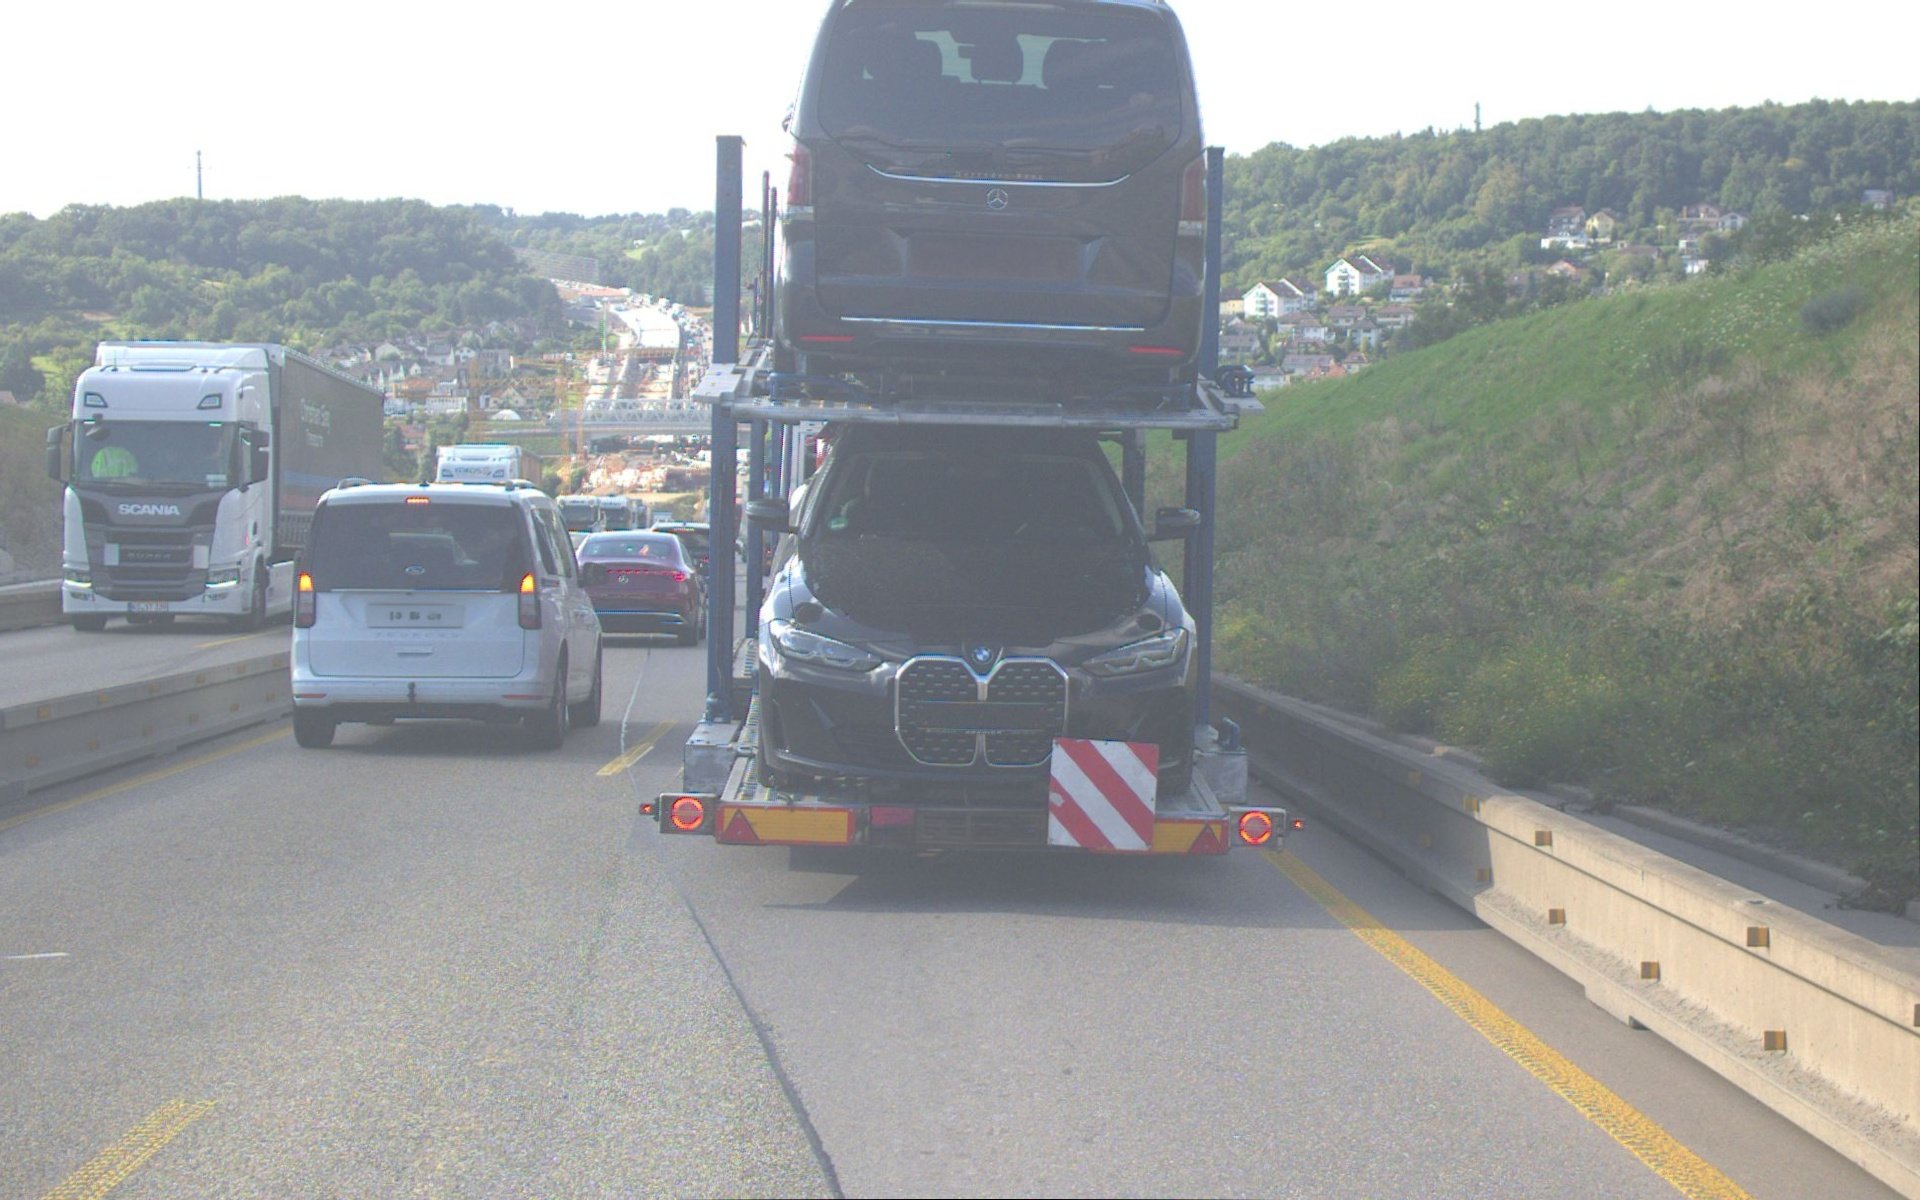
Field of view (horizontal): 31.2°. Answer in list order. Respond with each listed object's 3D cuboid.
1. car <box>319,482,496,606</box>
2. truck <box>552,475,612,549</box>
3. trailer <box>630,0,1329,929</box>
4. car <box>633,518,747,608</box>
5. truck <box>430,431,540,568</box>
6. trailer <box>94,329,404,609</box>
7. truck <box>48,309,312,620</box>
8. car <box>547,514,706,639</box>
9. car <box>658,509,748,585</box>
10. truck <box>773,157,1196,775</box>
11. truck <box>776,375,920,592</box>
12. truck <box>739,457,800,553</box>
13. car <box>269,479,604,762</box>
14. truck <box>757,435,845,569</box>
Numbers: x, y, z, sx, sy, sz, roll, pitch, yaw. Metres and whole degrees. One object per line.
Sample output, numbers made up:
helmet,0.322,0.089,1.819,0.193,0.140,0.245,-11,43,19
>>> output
car,-7.583,-0.738,47.517,1.821,1.598,4.000,1,0,-1
truck,-21.606,-5.019,196.804,2.638,4.085,10.820,0,1,-2
trailer,-0.083,-0.864,19.073,2.708,4.015,11.421,0,1,-2
car,-5.120,-0.745,65.702,1.993,1.619,4.751,1,1,-3
truck,-14.935,-3.145,108.708,2.638,4.085,10.820,0,1,-4
trailer,-11.141,-2.006,55.388,2.614,3.940,13.876,0,1,-2
truck,-10.922,-1.868,48.660,2.614,4.139,5.782,0,1,-2
car,-4.342,-0.350,45.361,1.823,1.487,4.685,1,2,-3
car,-5.545,-1.167,74.604,1.796,1.591,4.743,0,1,-2
truck,0.033,-0.914,24.796,2.677,3.908,6.028,0,1,-2
truck,-2.661,-2.585,78.150,2.863,4.555,11.660,0,1,-4
truck,-9.456,-4.668,169.576,2.863,4.555,11.660,0,1,-4
car,-3.672,0.067,24.828,1.823,1.817,4.457,1,2,-2
truck,-5.736,-3.455,122.273,2.863,4.555,11.660,0,1,-4
